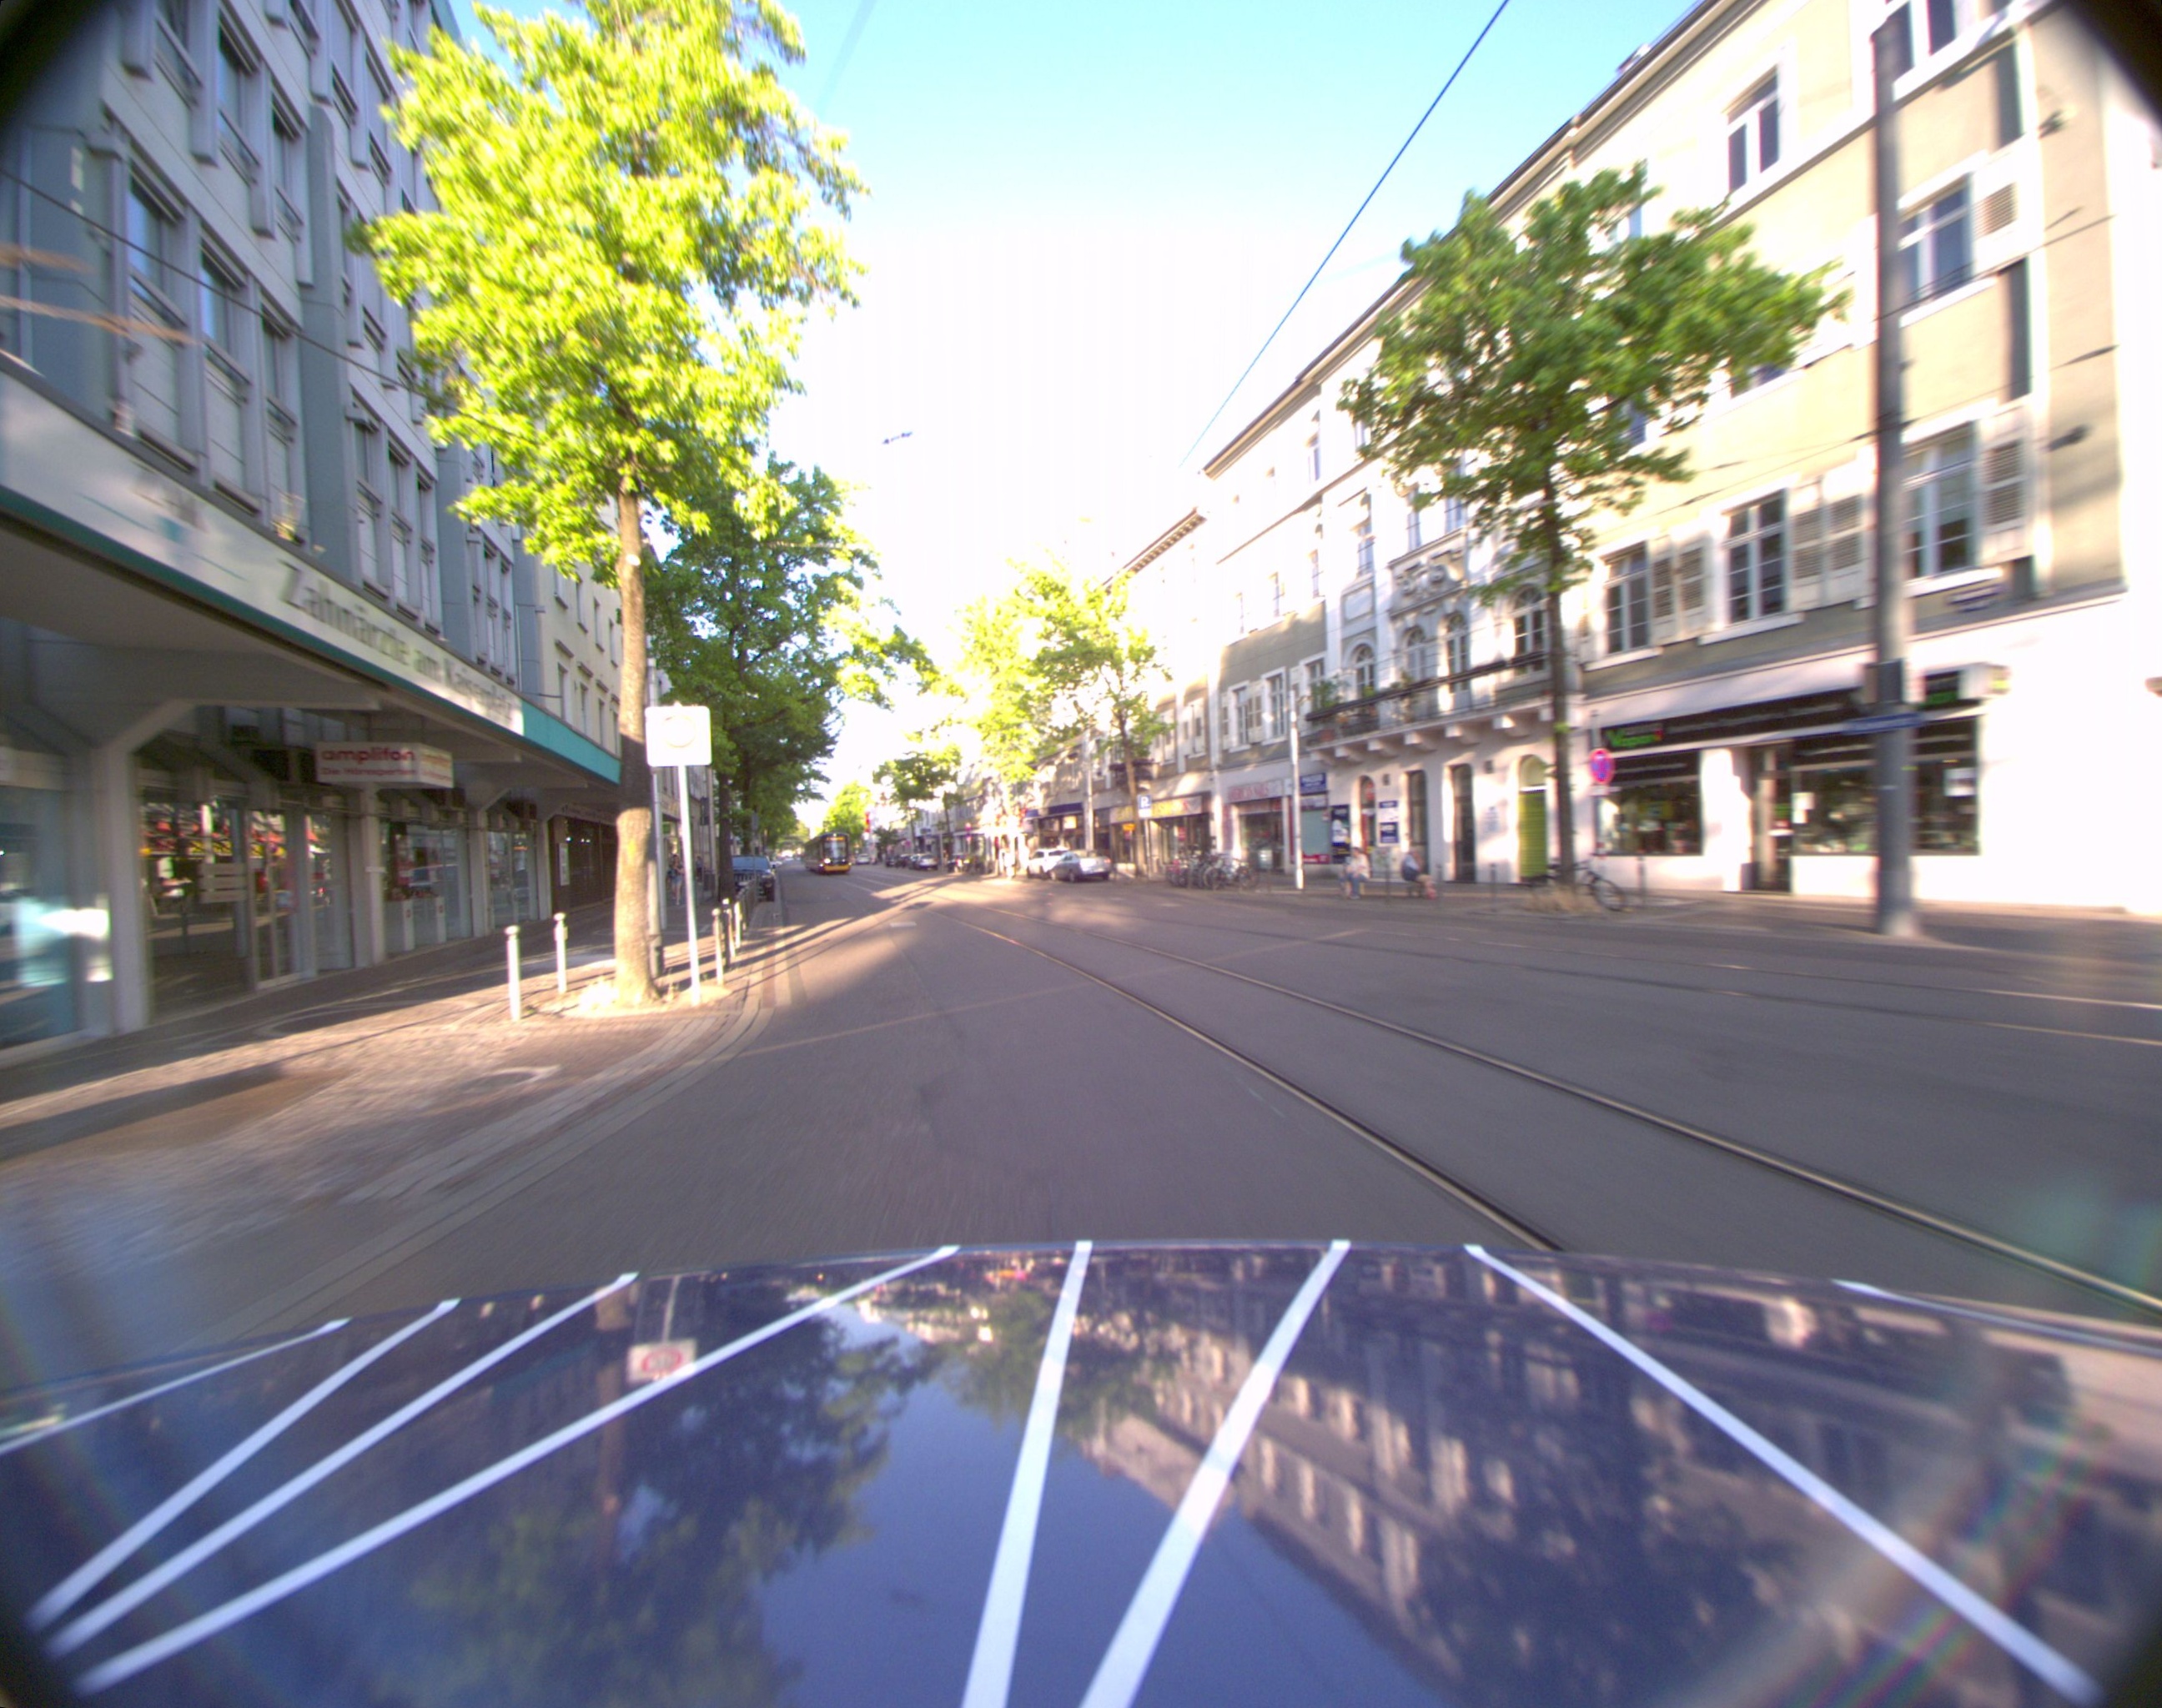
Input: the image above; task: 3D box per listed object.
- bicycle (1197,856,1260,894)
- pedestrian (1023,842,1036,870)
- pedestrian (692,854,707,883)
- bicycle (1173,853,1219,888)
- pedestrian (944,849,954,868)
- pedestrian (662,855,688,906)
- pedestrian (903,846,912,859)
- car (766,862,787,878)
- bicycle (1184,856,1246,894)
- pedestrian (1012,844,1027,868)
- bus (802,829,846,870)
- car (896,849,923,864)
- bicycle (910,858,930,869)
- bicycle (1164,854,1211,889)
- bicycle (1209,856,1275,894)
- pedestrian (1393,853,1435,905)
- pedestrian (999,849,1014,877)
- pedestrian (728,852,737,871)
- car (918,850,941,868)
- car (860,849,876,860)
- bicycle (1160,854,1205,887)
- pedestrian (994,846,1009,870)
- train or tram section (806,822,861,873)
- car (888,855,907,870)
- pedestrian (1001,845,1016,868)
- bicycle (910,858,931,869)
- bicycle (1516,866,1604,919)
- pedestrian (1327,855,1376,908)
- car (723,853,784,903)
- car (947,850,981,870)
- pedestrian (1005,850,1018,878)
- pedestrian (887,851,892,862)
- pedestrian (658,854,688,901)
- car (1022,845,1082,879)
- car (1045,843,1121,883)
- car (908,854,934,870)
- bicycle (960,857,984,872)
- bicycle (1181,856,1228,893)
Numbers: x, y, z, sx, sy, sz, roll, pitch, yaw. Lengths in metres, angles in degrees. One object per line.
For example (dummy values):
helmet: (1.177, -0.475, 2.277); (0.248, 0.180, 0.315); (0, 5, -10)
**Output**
bicycle: (4.901, 0.686, 25.263); (2.031, 1.099, 0.500); (-4, 3, -19)
pedestrian: (-3.745, 0.119, 55.602); (0.725, 2.002, 0.641); (-2, 1, -21)
pedestrian: (-21.927, 0.826, 43.669); (0.661, 1.655, 0.886); (0, 0, -22)
bicycle: (4.118, 0.579, 27.169); (0.499, 1.099, 2.033); (-1, 3, 44)
pedestrian: (-12.996, 0.422, 74.765); (0.662, 1.815, 0.877); (-5, 2, -21)
pedestrian: (-13.466, 0.884, 25.227); (0.646, 1.660, 0.785); (1, 0, -21)
pedestrian: (-22.371, -0.193, 97.888); (0.854, 1.756, 0.830); (-2, 1, -24)
car: (-33.968, 1.731, 84.654); (2.007, 1.678, 4.957); (0, 0, -24)
bicycle: (4.537, 0.698, 25.749); (2.031, 1.099, 0.500); (-4, 3, -19)
pedestrian: (-4.513, 0.144, 55.500); (0.725, 1.750, 1.088); (-2, 1, -21)
bus: (-28.363, -0.373, 83.198); (3.622, 3.974, 17.452); (-2, 0, -21)
car: (-18.943, 0.260, 83.720); (1.800, 1.482, 4.233); (-4, 2, -27)
bicycle: (-16.942, 0.983, 79.800); (1.979, 0.995, 0.330); (-2, 1, -19)
bicycle: (3.907, 0.632, 27.758); (0.499, 1.099, 2.119); (-1, 3, 44)
bicycle: (5.173, 0.678, 24.435); (2.027, 1.099, 0.501); (-3, 3, 13)
pedestrian: (7.849, 0.583, 17.908); (0.594, 1.187, 0.641); (-3, 1, -24)
pedestrian: (-4.209, 0.503, 43.002); (0.622, 1.501, 0.728); (-2, 2, -21)
pedestrian: (-35.065, 0.789, 76.458); (0.716, 1.875, 1.051); (-1, 0, -21)
car: (-13.631, 0.456, 68.273); (1.773, 1.488, 4.169); (-2, 1, -14)
car: (-35.223, 0.093, 125.505); (2.002, 1.744, 4.736); (-4, 1, -22)
bicycle: (3.827, 0.599, 28.587); (0.566, 1.099, 1.955); (-1, 3, 44)
pedestrian: (-5.721, 0.252, 54.558); (0.847, 1.683, 0.739); (-2, 1, -22)
train or tram section: (-22.317, -0.466, 67.728); (3.613, 3.974, 15.688); (-2, 0, -21)
car: (-22.075, 1.041, 91.580); (1.635, 1.607, 3.706); (-4, 1, -6)
pedestrian: (-5.277, 0.176, 55.385); (0.792, 1.683, 0.912); (-2, 1, -22)
bicycle: (-16.496, 0.997, 78.160); (1.979, 0.995, 0.330); (-2, 1, -19)
bicycle: (9.083, 0.708, 14.465); (0.338, 0.940, 1.507); (-2, 0, -21)
pedestrian: (6.864, 0.679, 19.281); (0.731, 1.283, 0.855); (-3, 1, -24)
car: (-12.487, 0.870, 29.164); (1.947, 1.749, 4.671); (2, -1, -21)
car: (-9.072, 0.447, 58.757); (1.672, 1.420, 3.820); (-5, 2, -22)
pedestrian: (-3.869, 0.538, 42.315); (0.523, 1.560, 0.632); (-2, 2, -21)
pedestrian: (-30.592, 0.348, 121.314); (0.644, 1.703, 0.828); (-4, 1, -18)
pedestrian: (-15.696, 0.897, 29.256); (0.862, 1.742, 0.931); (1, 0, -21)
car: (-1.598, 0.401, 40.624); (1.843, 1.571, 4.109); (-6, 2, -21)
car: (0.008, 0.394, 35.741); (1.843, 1.571, 4.693); (-6, 2, -21)
car: (-15.672, 0.792, 74.442); (1.718, 1.452, 4.478); (-4, 1, -21)
bicycle: (-7.896, 0.751, 54.952); (1.622, 0.960, 0.432); (-4, 1, -16)
bicycle: (4.348, 0.699, 26.618); (0.499, 1.099, 2.033); (-1, 3, 44)
